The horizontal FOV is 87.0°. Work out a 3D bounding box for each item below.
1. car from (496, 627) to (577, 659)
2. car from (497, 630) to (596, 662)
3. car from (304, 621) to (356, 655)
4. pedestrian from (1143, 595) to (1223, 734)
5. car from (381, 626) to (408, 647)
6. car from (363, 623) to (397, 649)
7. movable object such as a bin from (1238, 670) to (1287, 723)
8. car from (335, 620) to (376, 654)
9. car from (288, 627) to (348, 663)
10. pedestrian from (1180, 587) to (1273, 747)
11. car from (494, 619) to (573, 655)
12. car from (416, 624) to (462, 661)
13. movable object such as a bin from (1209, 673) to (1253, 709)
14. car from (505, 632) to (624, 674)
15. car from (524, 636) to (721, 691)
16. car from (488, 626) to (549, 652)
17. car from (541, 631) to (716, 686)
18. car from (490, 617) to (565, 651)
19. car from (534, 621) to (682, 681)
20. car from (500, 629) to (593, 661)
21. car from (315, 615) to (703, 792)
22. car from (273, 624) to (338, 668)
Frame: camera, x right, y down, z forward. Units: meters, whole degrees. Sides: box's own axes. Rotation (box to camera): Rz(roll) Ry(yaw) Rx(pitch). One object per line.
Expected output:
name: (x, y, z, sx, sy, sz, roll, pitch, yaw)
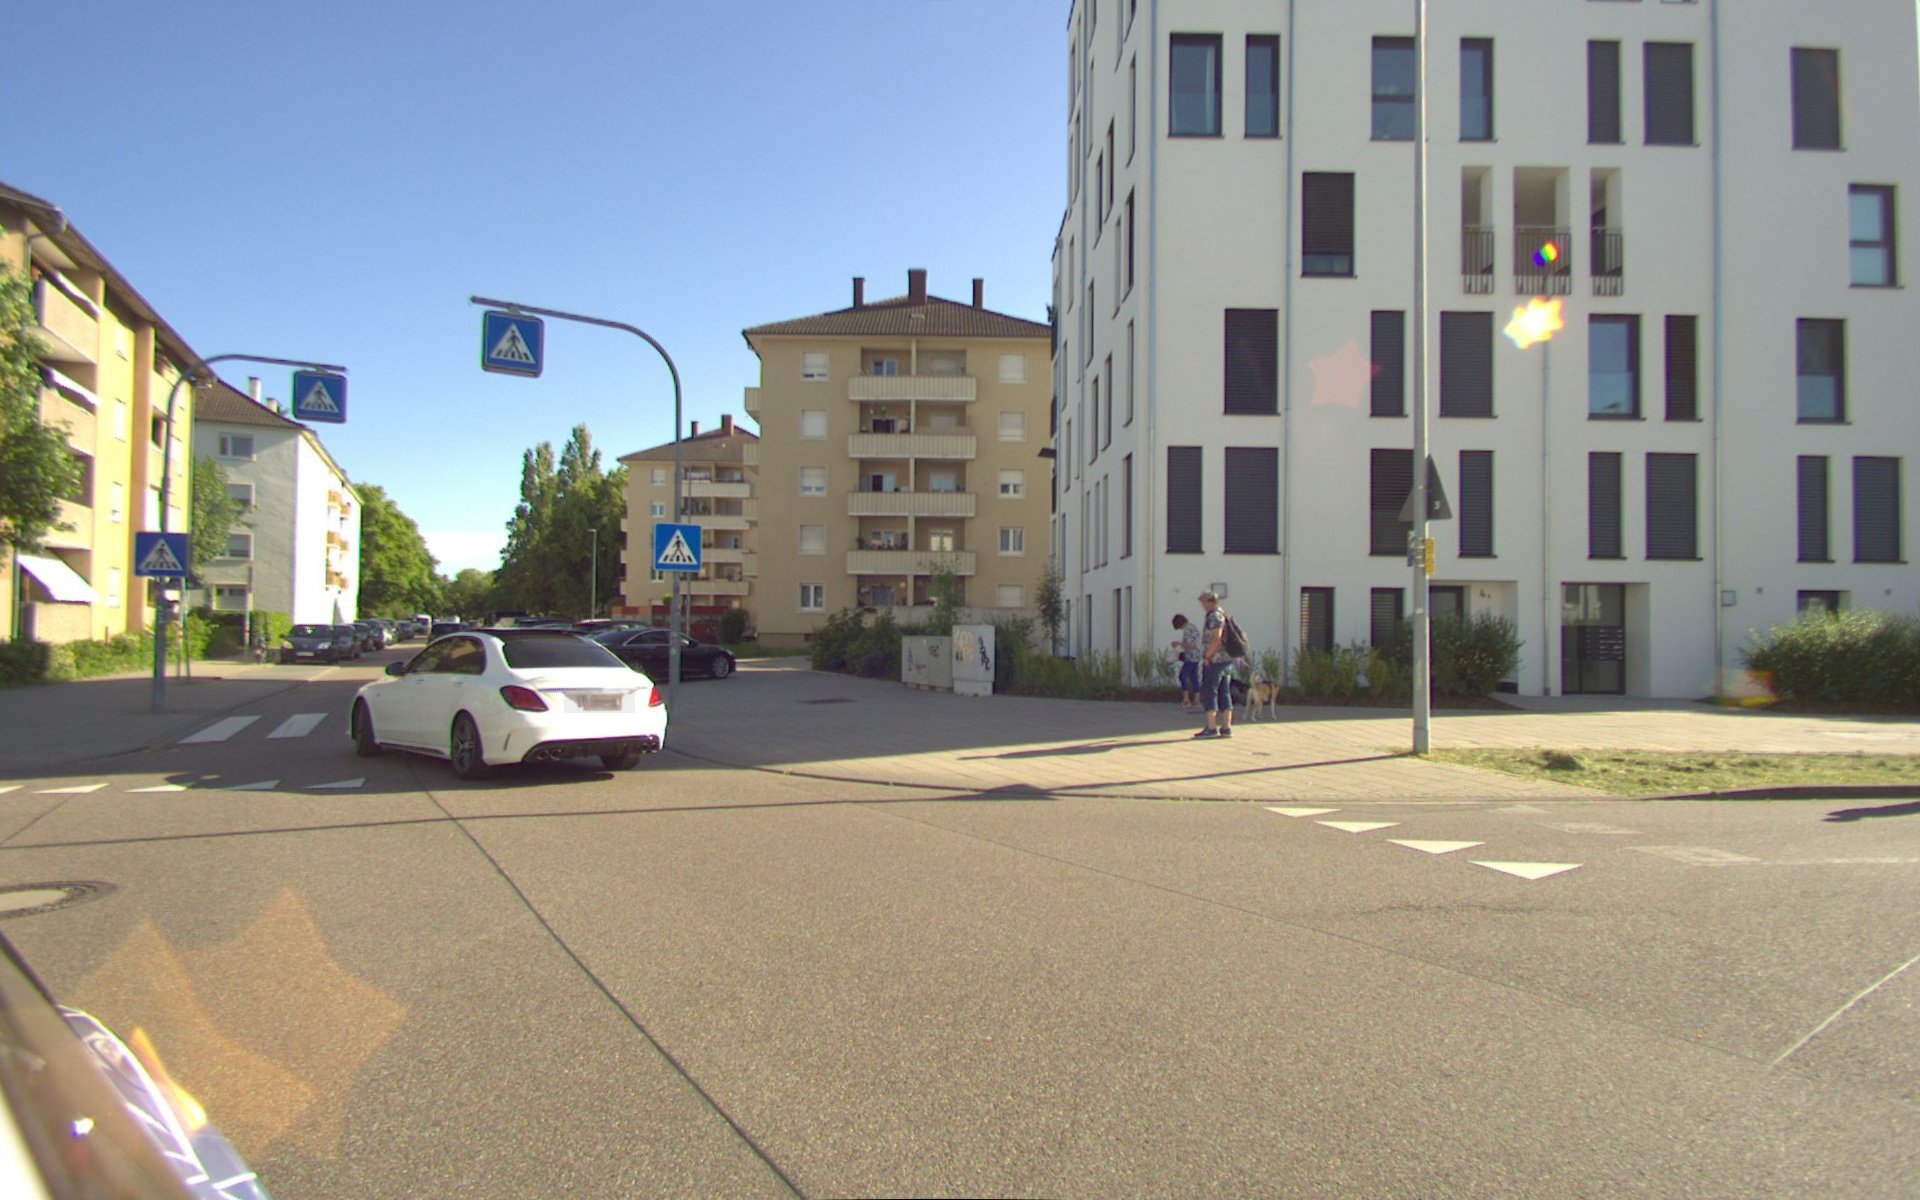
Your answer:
car: (-24.786, 2.478, 59.232, 3.937, 1.652, 2.003, 1, 1, -41)
car: (-19.885, 2.184, 48.761, 2.000, 1.320, 3.944, 1, 0, 42)
car: (-31.835, 1.895, 51.196, 1.966, 1.475, 4.013, -1, 1, -28)
pedestrian: (3.555, 1.003, 16.131, 0.958, 2.137, 0.765, -2, -2, 42)
car: (-49.841, 3.181, 89.252, 1.965, 1.707, 4.013, 1, 0, -28)
car: (-40.395, 2.474, 70.544, 1.965, 1.707, 4.013, 1, 0, -28)
movable object such as a bin: (4.302, 1.361, 14.381, 0.836, 0.685, 0.273, 2, -1, -42)
car: (-33.813, 2.067, 56.722, 1.814, 1.770, 4.012, 2, -2, -29)
car: (-26.560, 1.811, 41.996, 1.966, 1.253, 4.012, 1, 1, -31)
pedestrian: (3.271, 0.797, 12.490, 0.778, 1.899, 0.848, 1, 0, -11)
car: (-25.916, 2.214, 61.581, 2.001, 2.029, 3.942, 1, 1, 44)
car: (-24.673, 1.968, 47.870, 1.713, 1.541, 4.127, 1, 1, -30)
movable object such as a bin: (4.408, 1.472, 16.472, 0.681, 0.546, 0.270, 0, -1, 20)
car: (-15.702, 2.054, 40.300, 1.998, 1.412, 3.948, 1, 1, 39)
car: (-8.533, 1.564, 25.958, 1.995, 1.176, 4.511, -2, -1, 34)
car: (-33.686, 2.933, 77.216, 3.933, 1.851, 2.005, 1, 1, -35)
car: (-9.389, 1.619, 29.032, 1.995, 1.442, 4.511, -2, -3, 34)
car: (-27.843, 2.140, 65.194, 2.000, 2.029, 3.944, 1, 1, 42)
car: (-10.783, 1.517, 31.235, 1.993, 1.664, 3.957, -2, -1, 32)
car: (-21.090, 2.267, 51.760, 1.997, 1.264, 3.951, 1, 2, 37)
car: (-4.984, 1.009, 10.891, 4.633, 1.516, 1.867, -2, -5, 39)
car: (-24.100, 1.657, 37.255, 1.877, 1.526, 4.010, 2, -3, -34)
